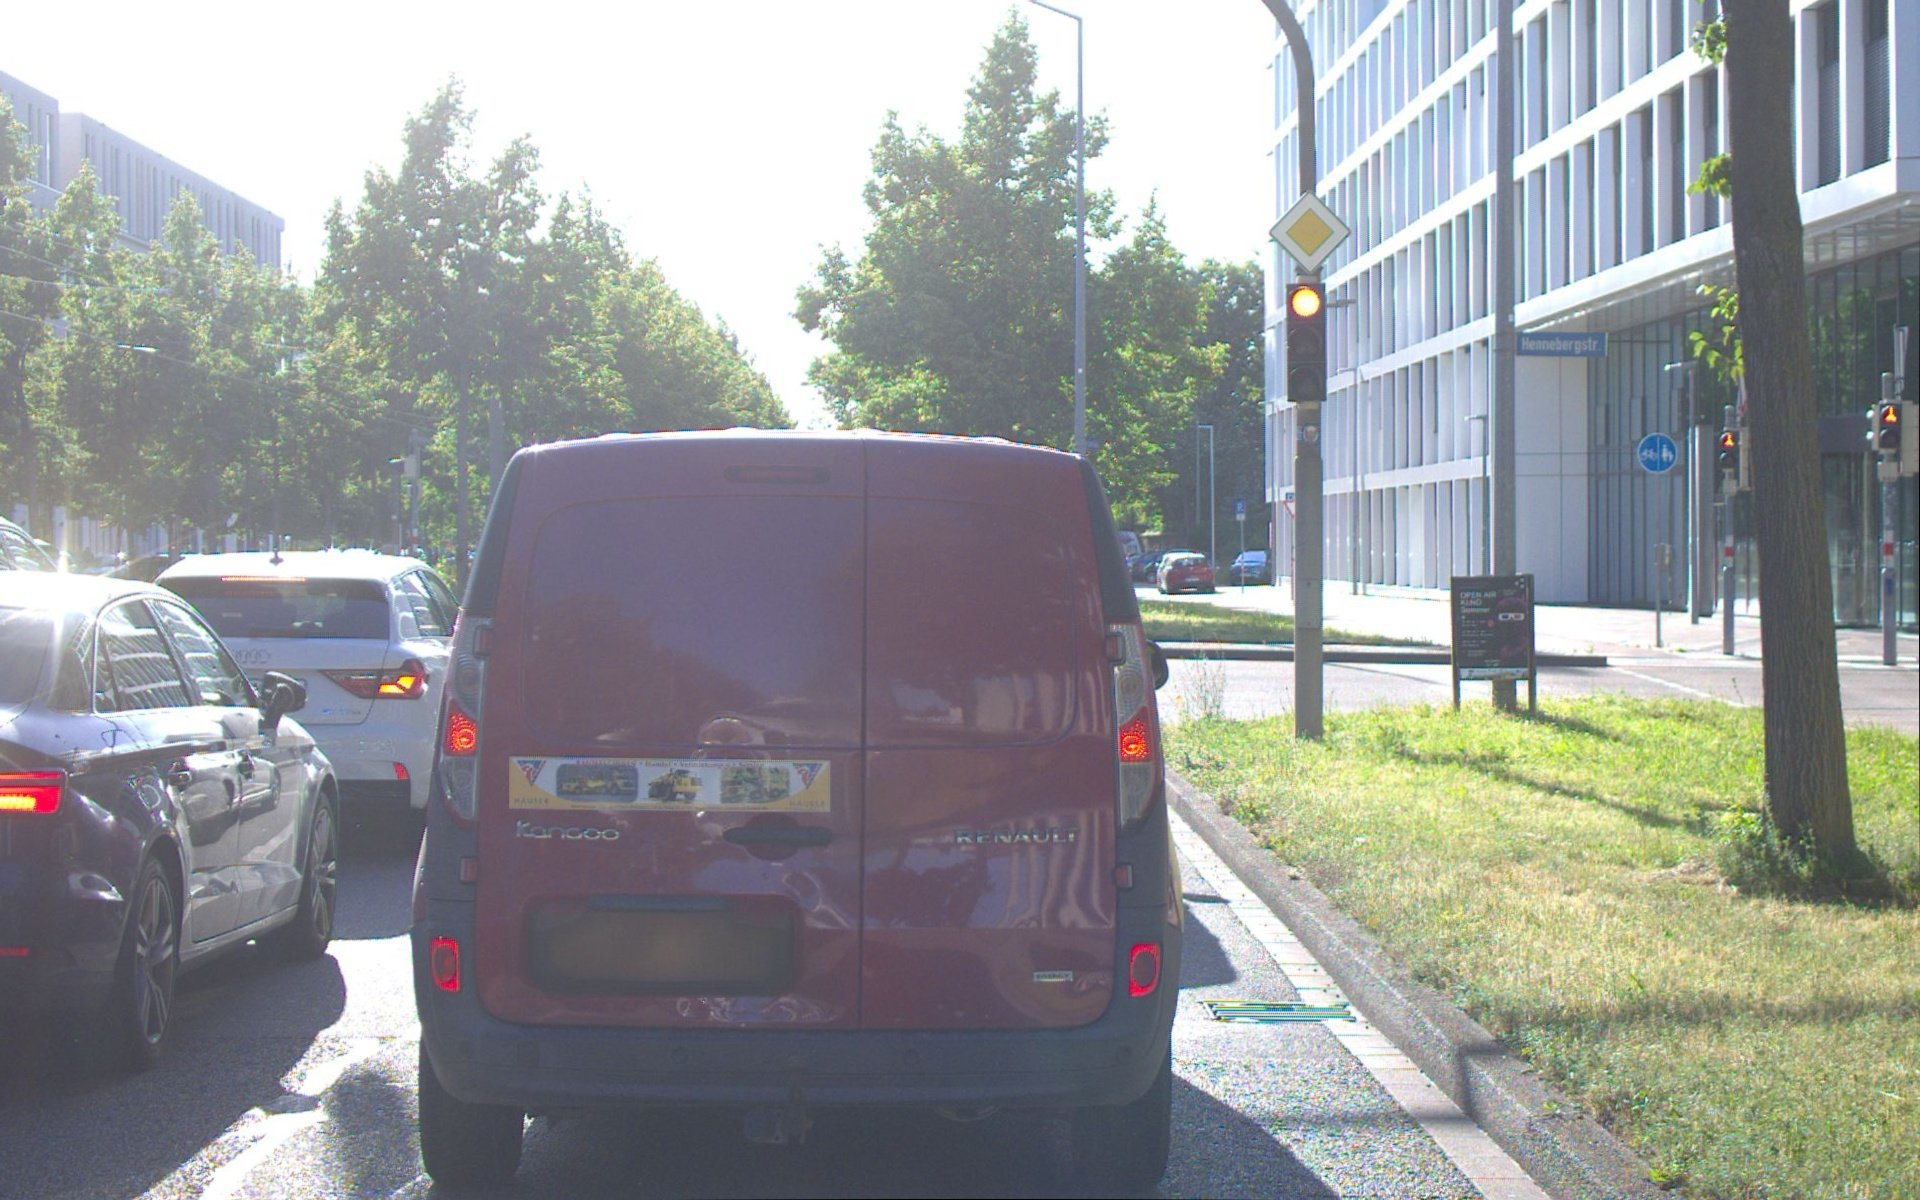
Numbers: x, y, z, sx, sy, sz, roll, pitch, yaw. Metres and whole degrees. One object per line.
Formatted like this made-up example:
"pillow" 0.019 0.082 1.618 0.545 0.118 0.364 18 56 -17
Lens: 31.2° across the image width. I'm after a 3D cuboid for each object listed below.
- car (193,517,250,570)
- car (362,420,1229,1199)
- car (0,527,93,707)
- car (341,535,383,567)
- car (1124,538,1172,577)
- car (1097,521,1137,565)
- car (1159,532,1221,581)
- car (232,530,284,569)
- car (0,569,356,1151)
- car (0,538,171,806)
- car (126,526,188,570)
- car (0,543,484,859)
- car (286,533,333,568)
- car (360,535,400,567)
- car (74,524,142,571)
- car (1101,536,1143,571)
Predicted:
"car" -36.155 -2.777 168.362 1.993 2.598 4.000 0 1 -1
"car" -0.377 0.469 9.327 1.842 1.774 4.000 0 1 -1
"car" -9.156 0.072 31.895 1.798 1.478 4.570 3 1 -18
"car" -37.785 -3.119 217.253 1.993 2.007 4.000 0 1 -1
"car" 8.764 -2.009 160.634 1.993 1.776 4.000 0 1 -1
"car" 9.048 -3.279 198.341 1.993 2.488 4.987 0 1 -1
"car" 8.560 -1.634 128.034 1.993 1.776 4.000 0 1 -1
"car" -37.249 -2.689 182.421 1.993 2.007 4.000 0 1 -1
"car" -3.184 0.639 10.851 1.842 1.421 4.339 0 1 -1
"car" -6.044 0.357 19.971 1.799 1.442 4.568 1 1 1
"car" -36.986 -2.396 158.435 1.993 2.007 4.000 0 1 -1
"car" -3.584 0.428 17.565 1.803 1.421 3.901 0 1 -1
"car" -37.702 -2.904 199.235 1.993 2.007 4.000 0 1 -1
"car" -37.574 -3.177 222.877 1.993 2.007 4.000 0 1 -1
"car" -36.998 -2.290 149.334 1.993 2.007 4.000 0 1 -1
"car" 8.464 -2.445 179.831 1.993 1.776 4.000 0 1 -1
